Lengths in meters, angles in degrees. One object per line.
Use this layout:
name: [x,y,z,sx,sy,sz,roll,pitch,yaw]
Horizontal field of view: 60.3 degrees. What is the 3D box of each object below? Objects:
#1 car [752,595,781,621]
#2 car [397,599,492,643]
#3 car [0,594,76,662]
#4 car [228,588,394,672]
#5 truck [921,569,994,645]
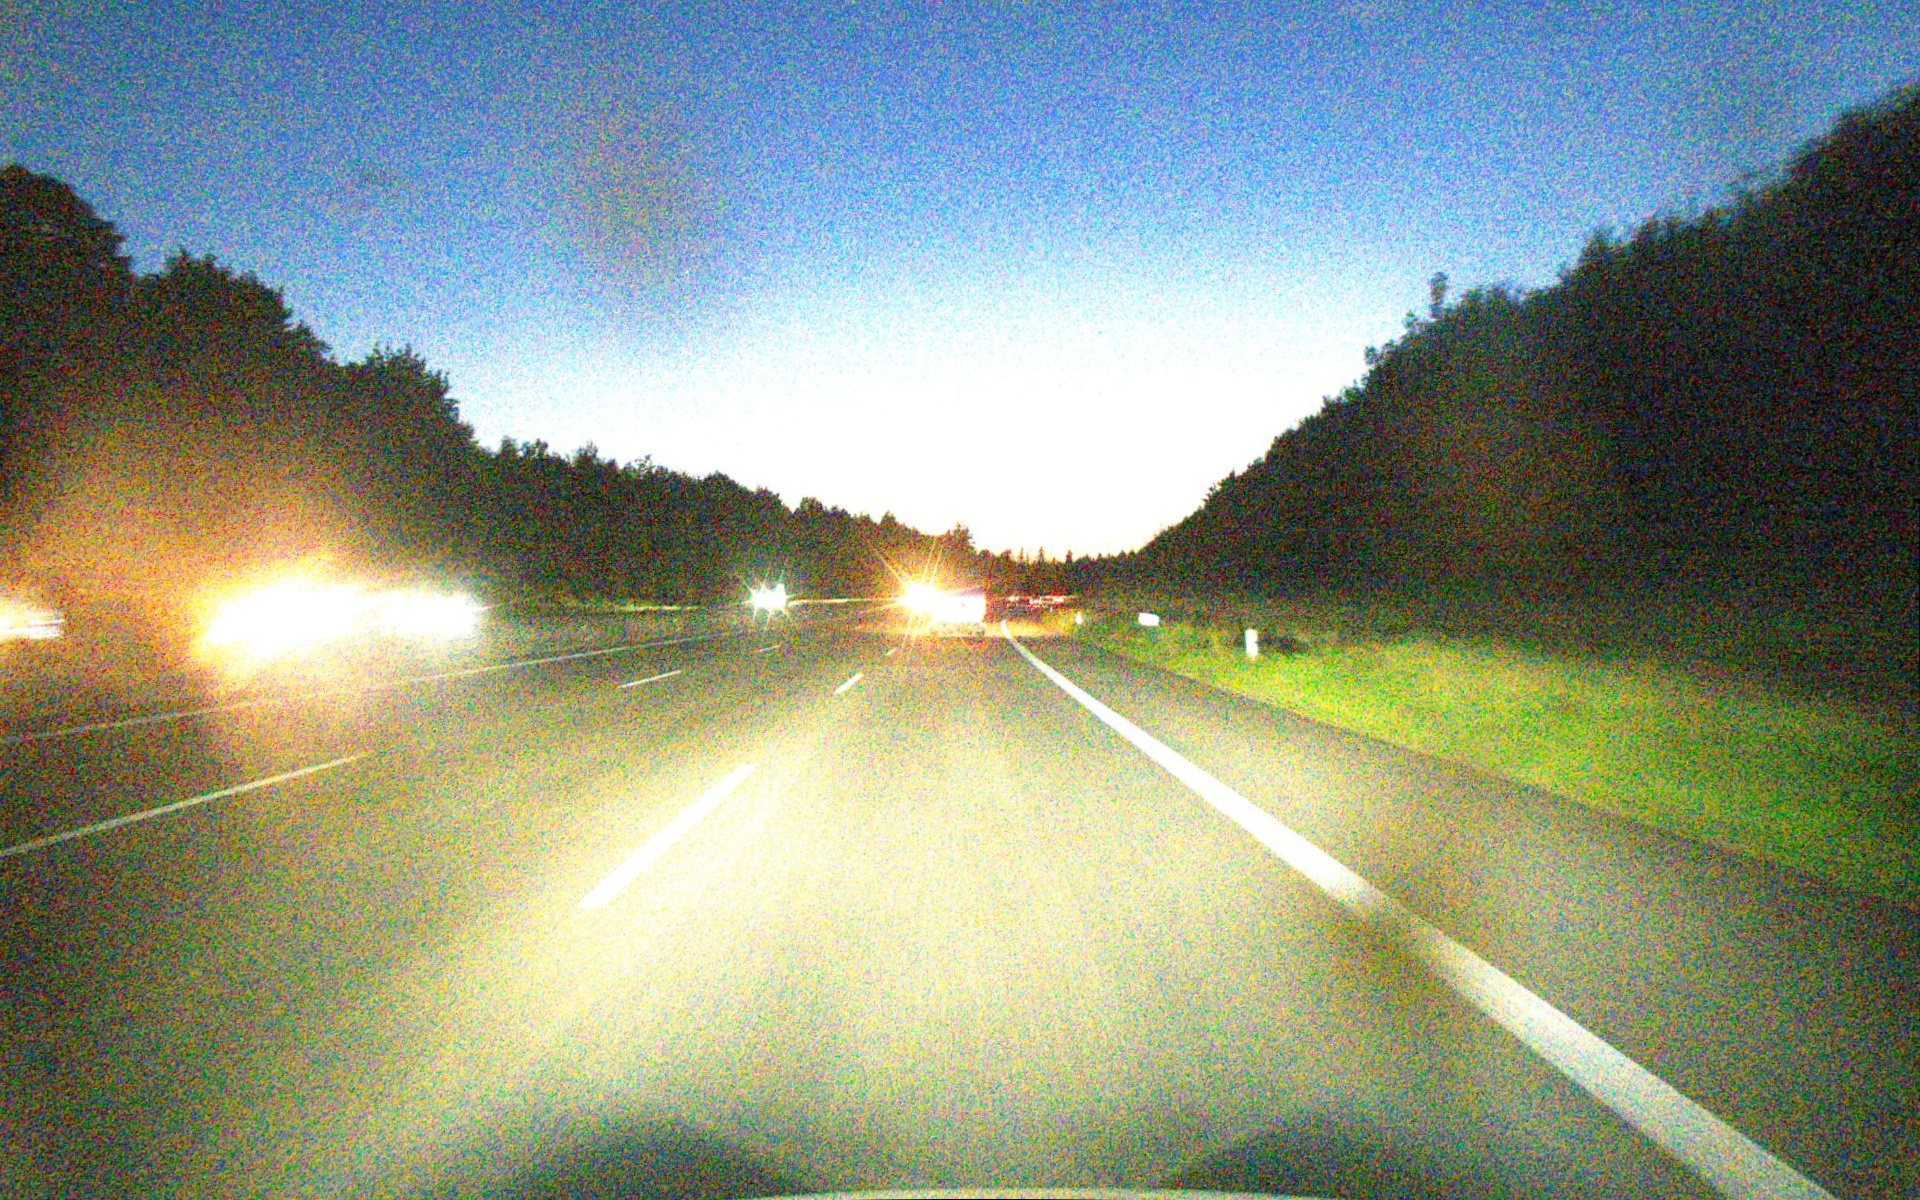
car: [-19.686,0.807,168.603,2.039,2.531,6.243,0,0,2]
car: [-18.517,0.745,59.606,1.953,1.506,4.928,0,0,-1]
car: [-22.585,0.624,38.195,1.952,1.534,4.401,0,0,0]
car: [-15.124,0.674,38.851,1.952,1.822,4.680,0,0,1]
truck: [-0.175,0.273,62.956,2.577,2.670,8.682,0,0,-1]
